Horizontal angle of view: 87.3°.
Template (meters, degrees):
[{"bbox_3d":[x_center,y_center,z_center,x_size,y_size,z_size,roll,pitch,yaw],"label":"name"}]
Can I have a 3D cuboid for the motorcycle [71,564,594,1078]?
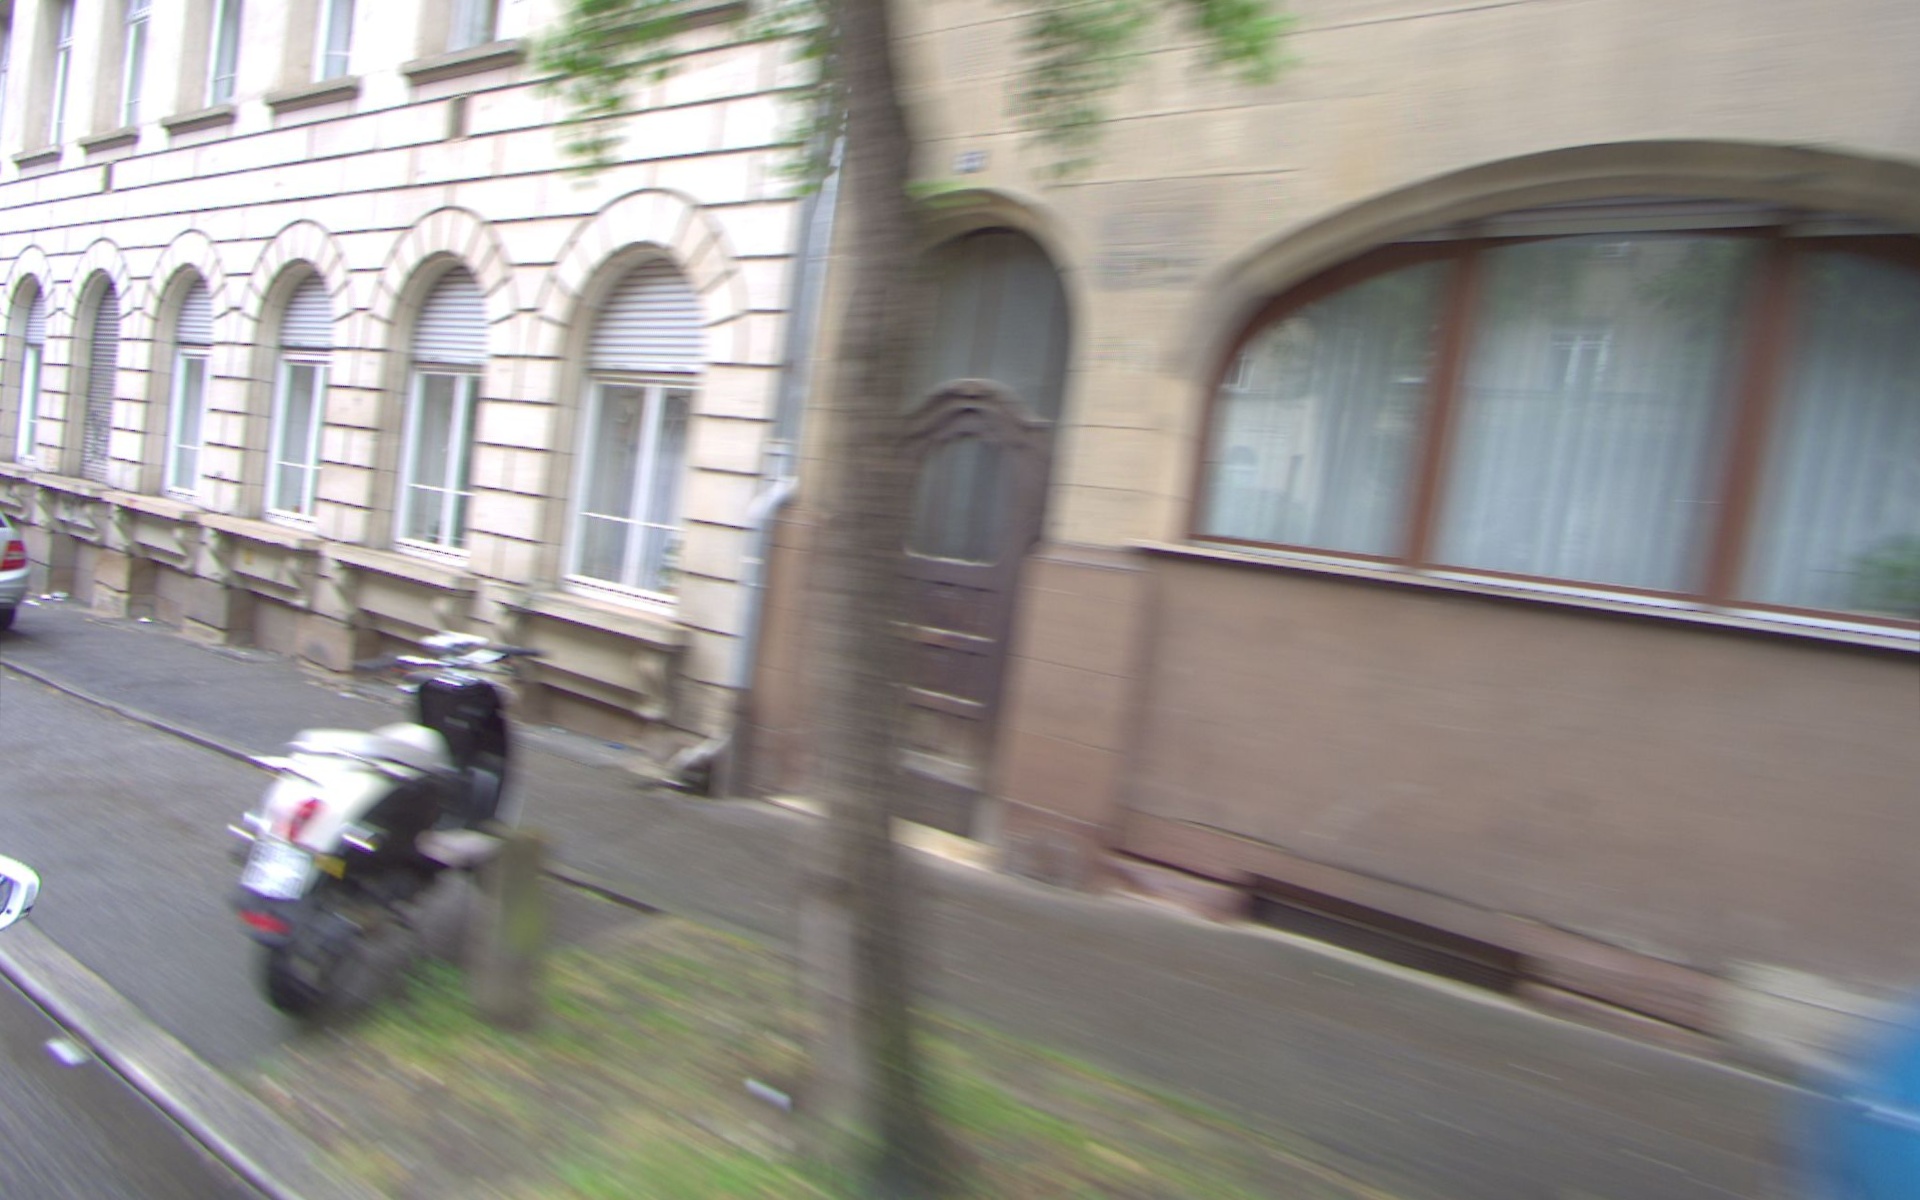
[{"bbox_3d":[-1.957,0.546,3.533,0.646,1.252,1.935,7,3,-4],"label":"motorcycle"}]

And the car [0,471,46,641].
[{"bbox_3d":[-10.346,-0.609,9.223,4.347,1.451,1.695,7,3,30],"label":"car"}]

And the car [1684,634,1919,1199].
[{"bbox_3d":[2.996,1.020,0.856,3.604,1.563,1.657,7,3,31],"label":"car"}]
